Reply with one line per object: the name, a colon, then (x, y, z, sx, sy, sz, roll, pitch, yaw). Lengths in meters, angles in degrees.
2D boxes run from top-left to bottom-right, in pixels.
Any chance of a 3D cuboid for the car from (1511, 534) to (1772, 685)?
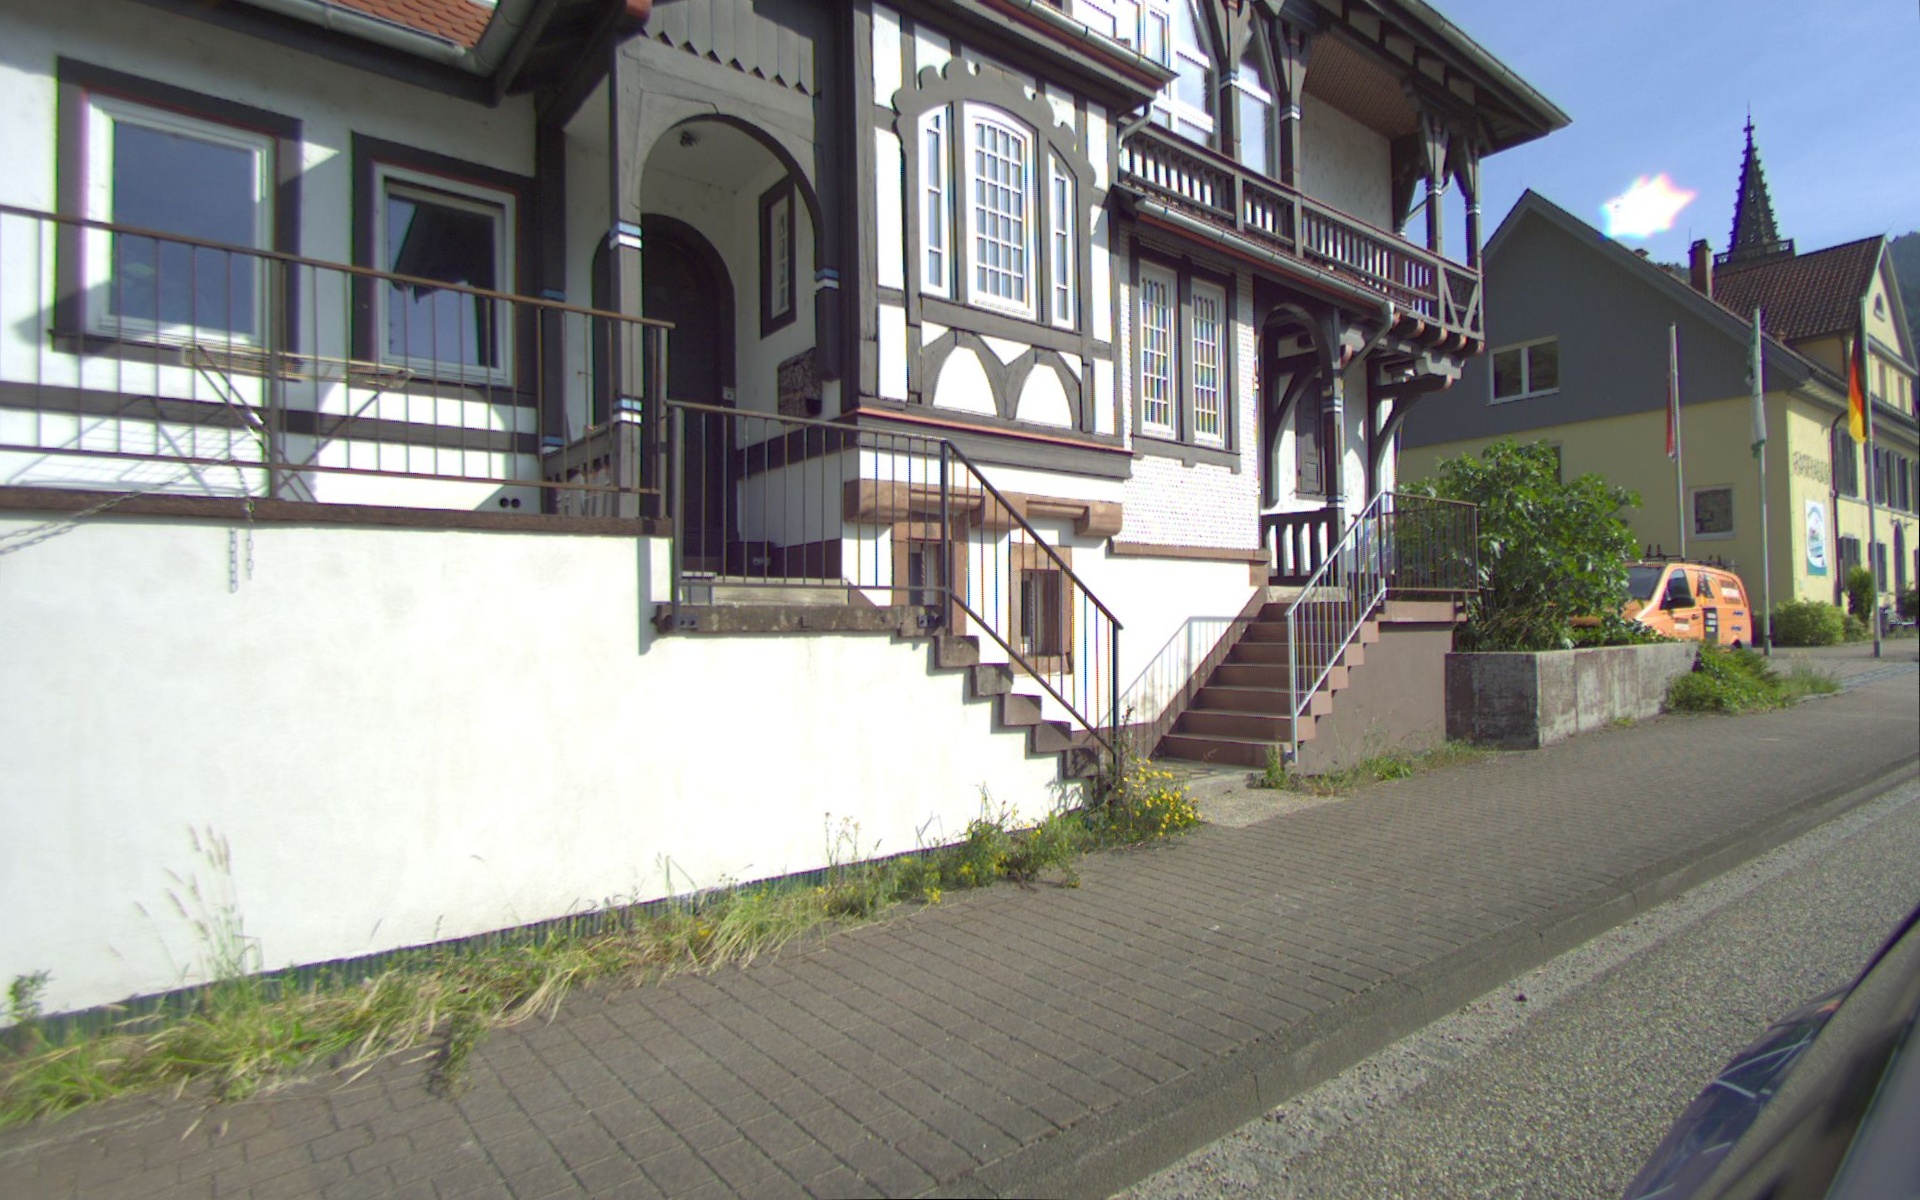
car: (10.719, 0.124, 15.791, 4.745, 2.023, 1.914, 0, 0, -37)
